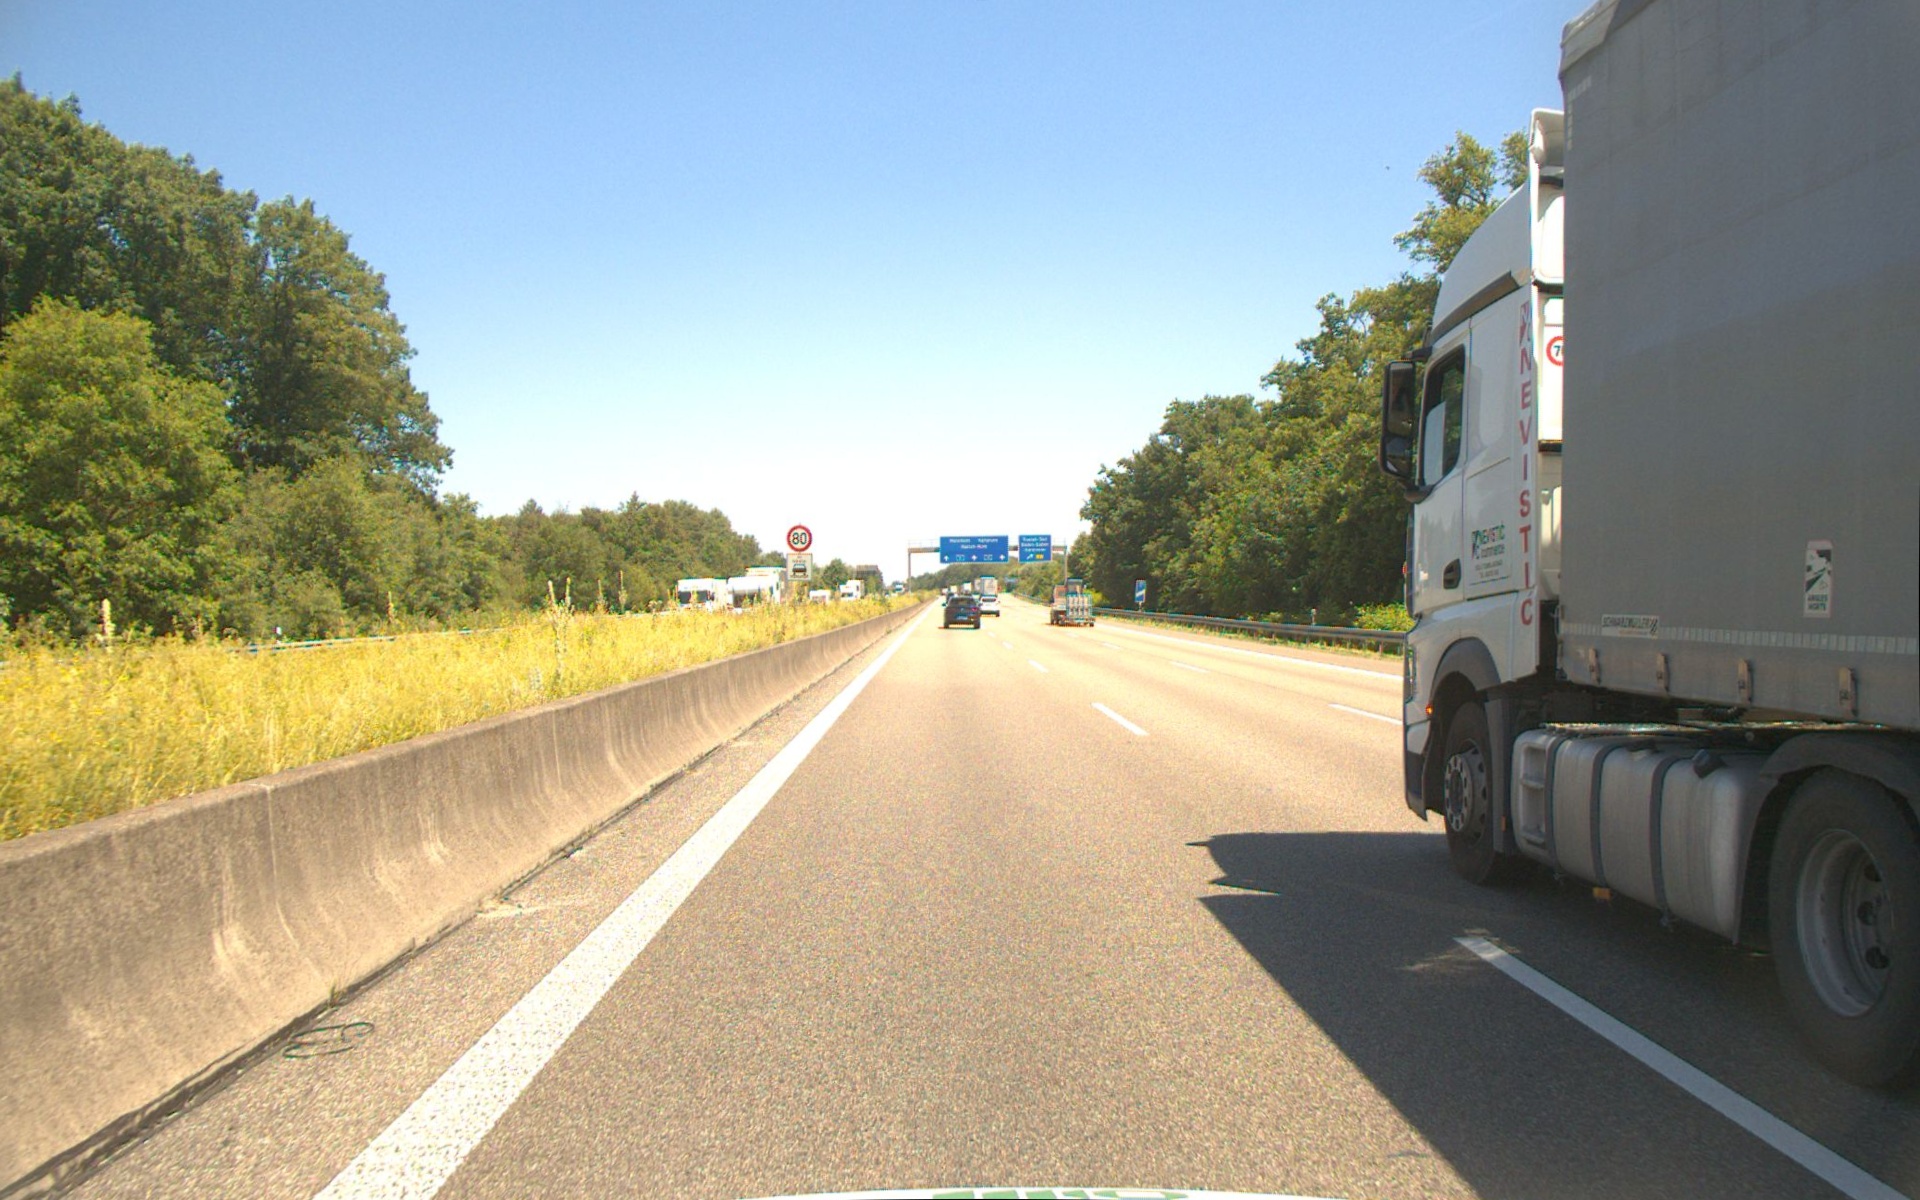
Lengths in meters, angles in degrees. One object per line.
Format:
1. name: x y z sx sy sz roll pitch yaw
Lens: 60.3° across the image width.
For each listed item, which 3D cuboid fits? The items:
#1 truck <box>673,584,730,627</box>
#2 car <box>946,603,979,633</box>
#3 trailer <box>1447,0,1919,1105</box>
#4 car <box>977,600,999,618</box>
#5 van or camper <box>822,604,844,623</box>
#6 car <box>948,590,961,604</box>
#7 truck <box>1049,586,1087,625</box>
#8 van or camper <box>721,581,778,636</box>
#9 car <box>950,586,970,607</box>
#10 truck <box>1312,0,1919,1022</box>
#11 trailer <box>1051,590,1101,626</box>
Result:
1. truck: -18.831 0.413 121.213 2.632 2.993 10.485 0 0 -1
2. car: 0.094 0.961 89.182 1.627 1.576 3.781 1 -1 -2
3. trailer: 4.181 -0.628 1.884 2.653 4.139 14.741 0 -1 -1
4. car: 2.377 0.742 139.730 1.704 1.512 3.999 0 0 -1
5. van or camper: -14.057 1.518 183.665 2.177 2.049 5.885 1 0 -2
6. car: -0.815 -0.443 247.240 1.953 2.049 3.999 -1 0 -1
7. truck: 6.745 0.319 103.683 1.953 2.415 4.643 0 0 -2
8. van or camper: -12.857 0.489 101.649 2.456 3.210 7.534 1 0 0
9. car: -0.030 -0.323 169.798 1.953 2.049 3.999 -1 0 -1
10. truck: 4.013 -0.542 9.157 2.645 4.166 6.451 0 -1 -1
11. trailer: 6.871 0.432 98.328 2.372 2.049 6.031 0 0 -2
